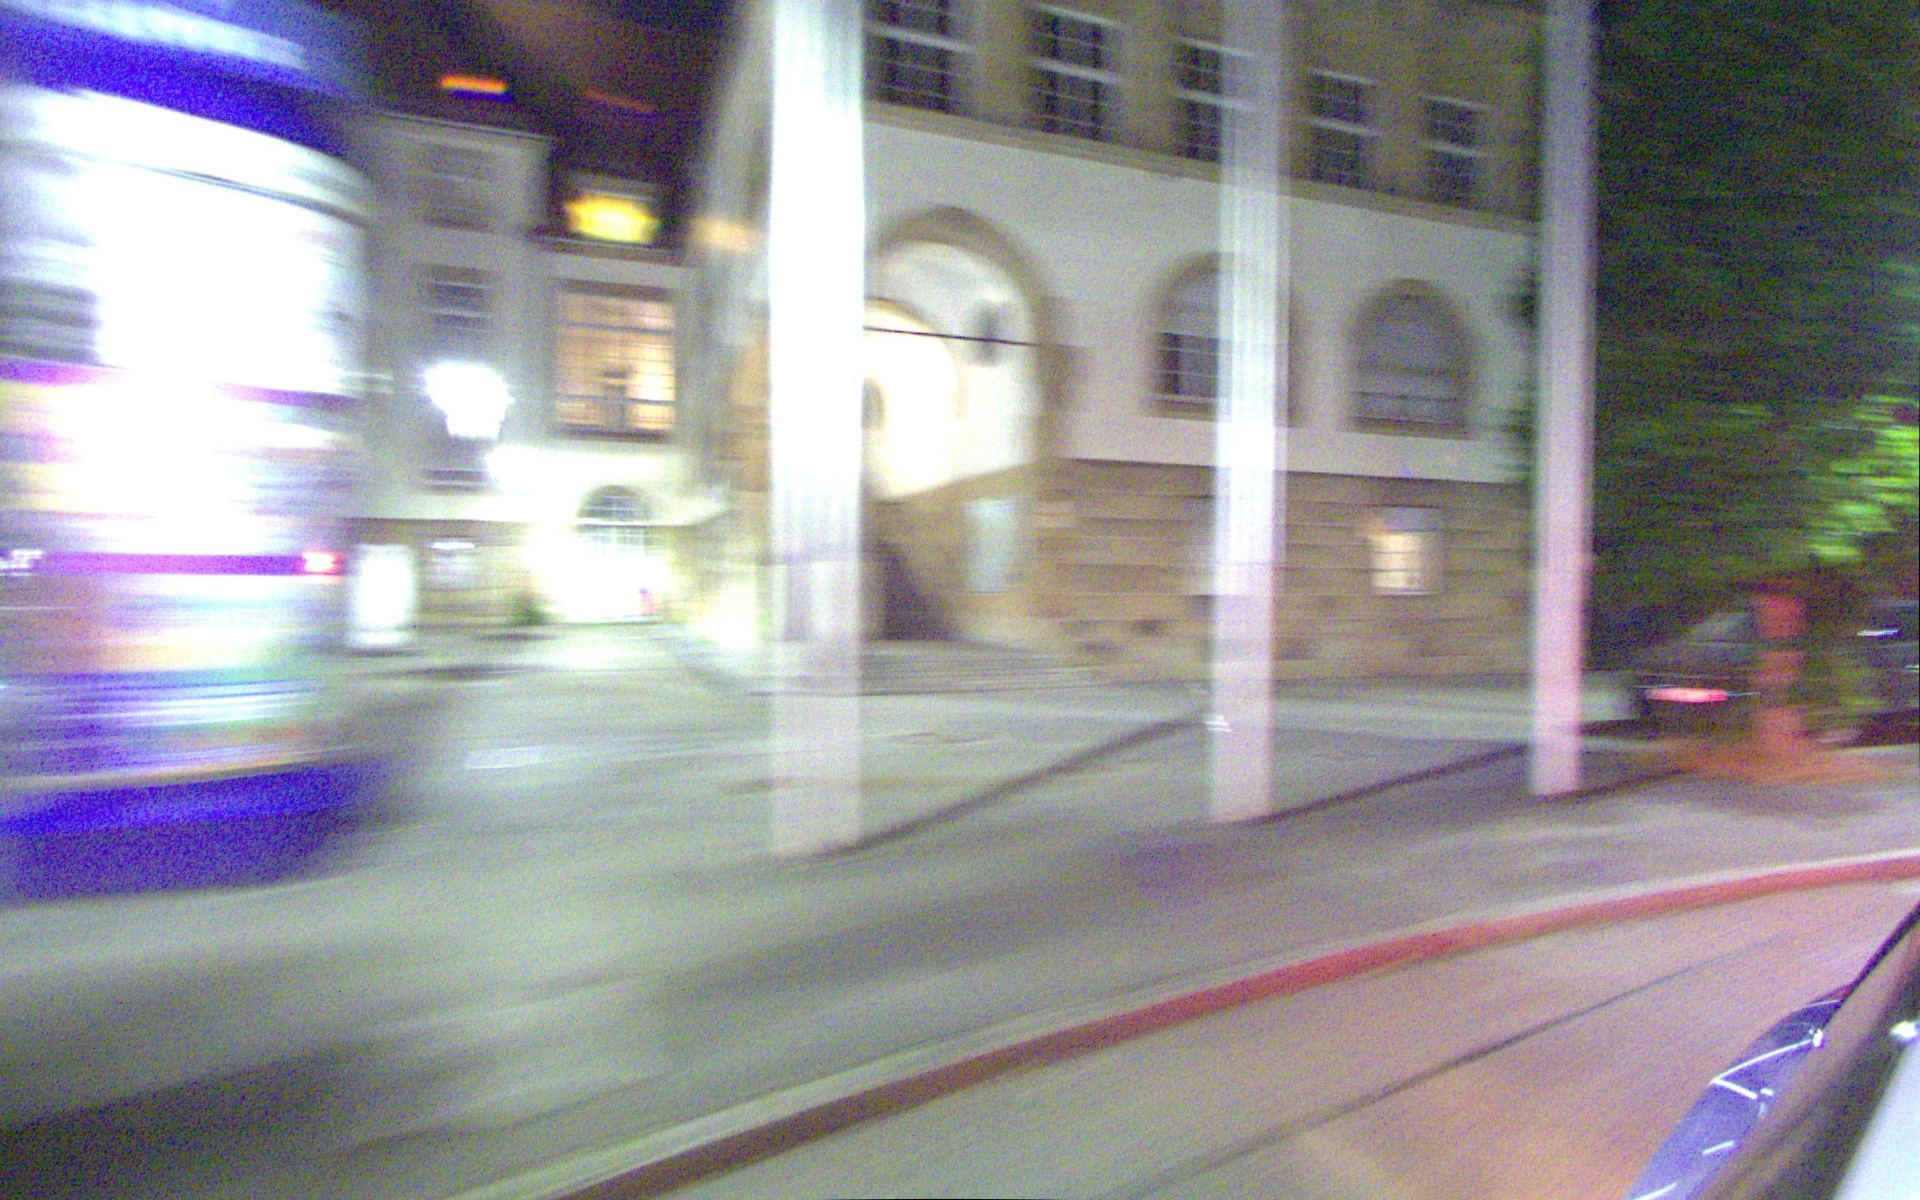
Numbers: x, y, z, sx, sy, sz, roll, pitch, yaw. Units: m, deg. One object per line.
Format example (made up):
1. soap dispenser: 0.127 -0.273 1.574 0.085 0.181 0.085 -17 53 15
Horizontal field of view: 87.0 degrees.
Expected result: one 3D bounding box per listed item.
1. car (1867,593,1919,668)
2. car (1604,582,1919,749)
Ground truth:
1. car: 20.306 0.675 19.137 1.752 1.478 4.451 1 1 -13
2. car: 9.216 0.589 10.686 4.628 1.478 1.743 0 0 -23
